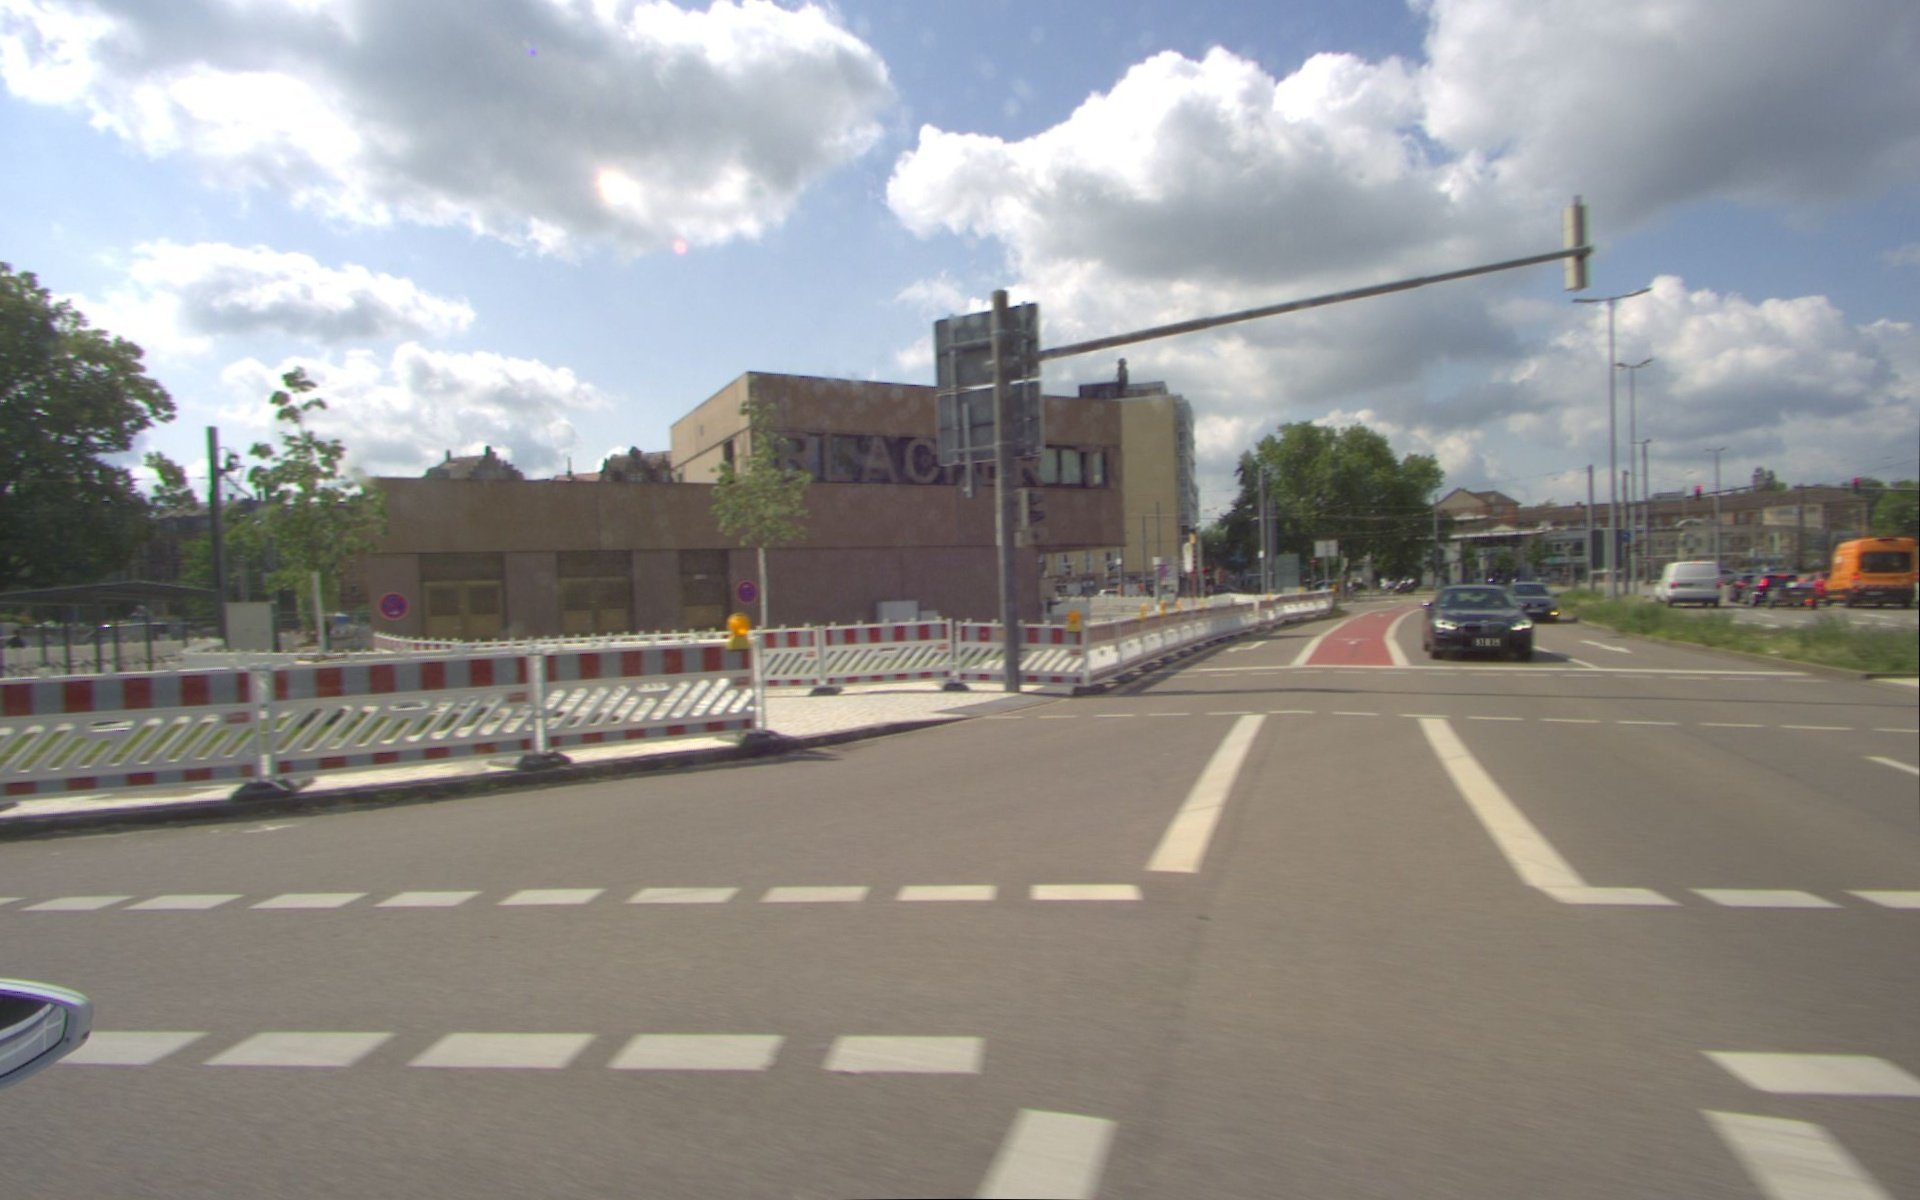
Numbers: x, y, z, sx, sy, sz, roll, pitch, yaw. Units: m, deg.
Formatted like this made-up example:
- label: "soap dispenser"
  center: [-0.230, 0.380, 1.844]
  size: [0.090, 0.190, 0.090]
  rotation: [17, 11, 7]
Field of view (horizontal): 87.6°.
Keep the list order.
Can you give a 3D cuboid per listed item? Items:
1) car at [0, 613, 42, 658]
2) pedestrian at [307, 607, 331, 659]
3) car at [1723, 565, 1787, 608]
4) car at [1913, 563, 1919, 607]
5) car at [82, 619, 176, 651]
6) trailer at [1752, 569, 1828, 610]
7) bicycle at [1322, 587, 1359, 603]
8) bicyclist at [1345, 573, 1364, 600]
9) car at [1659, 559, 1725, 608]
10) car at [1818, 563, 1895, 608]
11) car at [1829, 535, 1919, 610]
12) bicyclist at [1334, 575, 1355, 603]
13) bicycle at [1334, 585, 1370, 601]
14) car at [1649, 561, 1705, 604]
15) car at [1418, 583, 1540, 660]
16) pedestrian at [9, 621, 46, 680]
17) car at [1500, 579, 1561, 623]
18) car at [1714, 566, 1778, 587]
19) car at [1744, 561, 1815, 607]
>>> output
- label: "car"
  center: [-43.072, 1.609, 43.652]
  size: [4.118, 1.907, 1.794]
  rotation: [-2, 1, -30]
- label: "pedestrian"
  center: [-25.693, 1.308, 40.168]
  size: [0.692, 2.041, 0.553]
  rotation: [-3, 1, -29]
- label: "car"
  center: [38.860, -0.693, 49.063]
  size: [1.970, 1.964, 4.611]
  rotation: [-2, 1, 33]
- label: "car"
  center: [40.578, -0.640, 40.722]
  size: [1.973, 1.819, 3.974]
  rotation: [-2, 1, 34]
- label: "car"
  center: [-53.881, 2.228, 65.016]
  size: [4.297, 1.817, 1.779]
  rotation: [-2, 1, -20]
- label: "trailer"
  center: [33.468, -0.442, 40.477]
  size: [1.973, 1.497, 3.975]
  rotation: [-2, 0, 34]
- label: "bicycle"
  center: [26.479, -0.347, 69.690]
  size: [2.351, 1.081, 0.854]
  rotation: [-1, 1, 30]
- label: "bicyclist"
  center: [28.988, -0.972, 73.604]
  size: [1.205, 1.935, 0.830]
  rotation: [-1, 1, 30]
- label: "car"
  center: [31.721, -0.730, 43.523]
  size: [1.984, 1.993, 4.611]
  rotation: [-2, 1, 33]
- label: "car"
  center: [42.271, -0.684, 47.331]
  size: [1.970, 1.964, 4.611]
  rotation: [-2, 1, 33]
- label: "car"
  center: [36.987, -1.108, 40.491]
  size: [2.107, 2.818, 4.611]
  rotation: [-2, 1, 33]
- label: "bicyclist"
  center: [26.707, -0.780, 69.552]
  size: [1.205, 1.935, 0.854]
  rotation: [-1, 1, 30]
- label: "bicycle"
  center: [28.829, -0.535, 73.708]
  size: [2.351, 1.081, 0.839]
  rotation: [-1, 1, 30]
- label: "car"
  center: [35.298, -0.885, 49.367]
  size: [1.970, 1.964, 4.611]
  rotation: [-2, 1, 33]
- label: "car"
  center: [10.451, 0.374, 20.416]
  size: [1.767, 1.407, 4.215]
  rotation: [-1, 1, 22]
- label: "pedestrian"
  center: [-33.499, 1.802, 35.999]
  size: [0.752, 2.041, 0.746]
  rotation: [-2, 1, -31]
- label: "car"
  center: [21.091, -0.002, 37.126]
  size: [1.640, 1.500, 4.046]
  rotation: [2, 2, 26]
- label: "car"
  center: [68.269, -2.037, 87.031]
  size: [3.926, 1.662, 1.727]
  rotation: [-2, 1, 13]
- label: "car"
  center: [35.388, -0.708, 43.317]
  size: [1.973, 1.851, 3.975]
  rotation: [-2, 1, 34]
